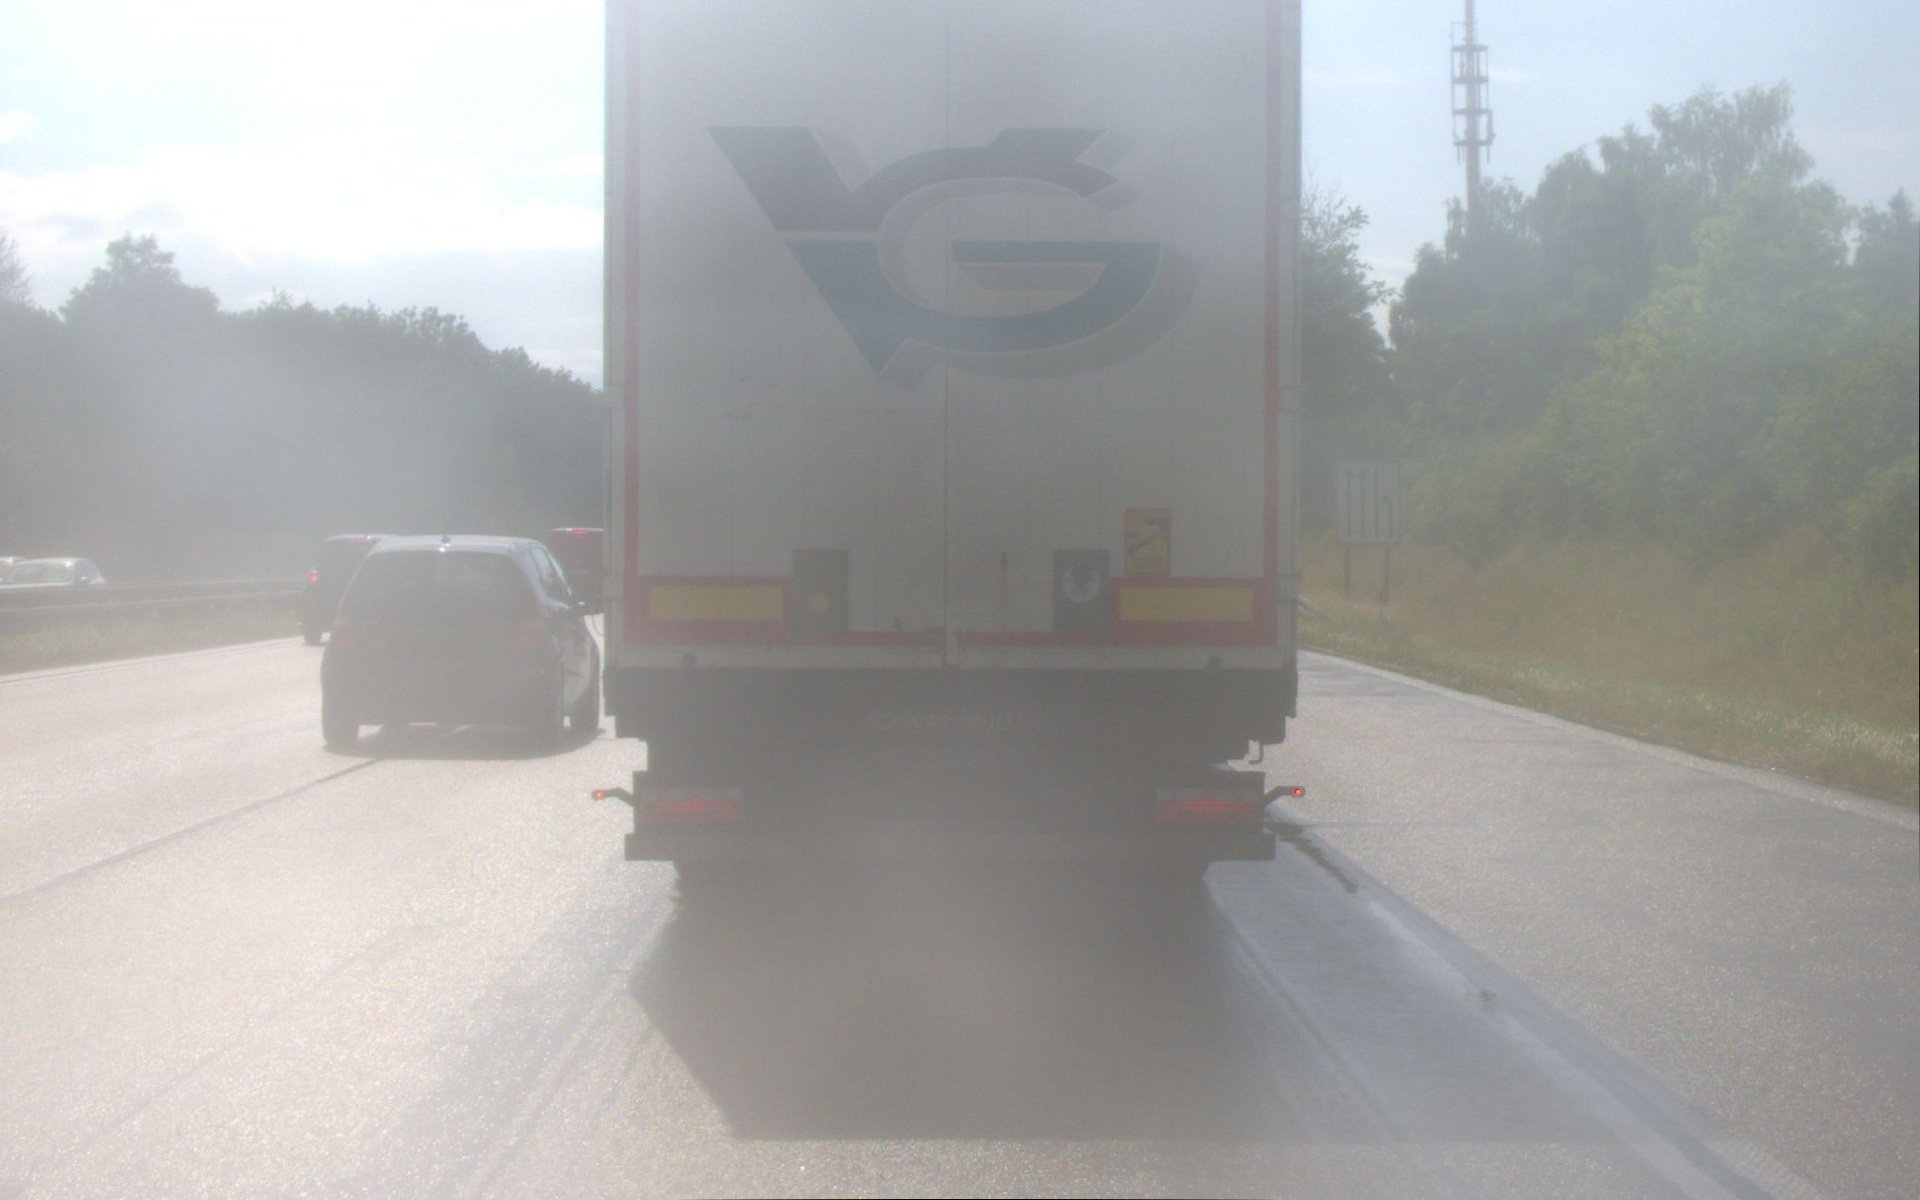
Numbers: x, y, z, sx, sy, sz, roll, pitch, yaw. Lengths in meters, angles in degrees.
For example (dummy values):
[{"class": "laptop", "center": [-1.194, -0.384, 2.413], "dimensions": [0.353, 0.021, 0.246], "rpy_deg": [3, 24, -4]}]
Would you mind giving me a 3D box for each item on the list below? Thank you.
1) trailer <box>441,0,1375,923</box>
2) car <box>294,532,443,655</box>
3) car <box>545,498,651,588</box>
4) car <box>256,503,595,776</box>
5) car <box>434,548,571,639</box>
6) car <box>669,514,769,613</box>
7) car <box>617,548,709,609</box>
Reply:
[{"class": "trailer", "center": [-0.291, -0.930, 19.407], "dimensions": [3.283, 3.885, 14.129], "rpy_deg": [1, 1, -1]}, {"class": "car", "center": [-9.049, -0.111, 52.861], "dimensions": [1.692, 1.798, 3.976], "rpy_deg": [1, 0, -2]}, {"class": "car", "center": [-8.657, -1.347, 82.543], "dimensions": [1.978, 2.047, 4.756], "rpy_deg": [1, 0, 1]}, {"class": "car", "center": [-4.136, 0.268, 27.376], "dimensions": [2.274, 1.948, 4.822], "rpy_deg": [1, 0, -4]}, {"class": "car", "center": [-8.627, -0.136, 65.155], "dimensions": [1.909, 1.631, 4.617], "rpy_deg": [-1, 0, 1]}, {"class": "car", "center": [-4.510, -0.684, 64.801], "dimensions": [1.692, 1.798, 3.976], "rpy_deg": [1, 0, -2]}, {"class": "car", "center": [-8.022, -0.589, 93.207], "dimensions": [1.993, 1.559, 4.756], "rpy_deg": [1, 0, 1]}]
